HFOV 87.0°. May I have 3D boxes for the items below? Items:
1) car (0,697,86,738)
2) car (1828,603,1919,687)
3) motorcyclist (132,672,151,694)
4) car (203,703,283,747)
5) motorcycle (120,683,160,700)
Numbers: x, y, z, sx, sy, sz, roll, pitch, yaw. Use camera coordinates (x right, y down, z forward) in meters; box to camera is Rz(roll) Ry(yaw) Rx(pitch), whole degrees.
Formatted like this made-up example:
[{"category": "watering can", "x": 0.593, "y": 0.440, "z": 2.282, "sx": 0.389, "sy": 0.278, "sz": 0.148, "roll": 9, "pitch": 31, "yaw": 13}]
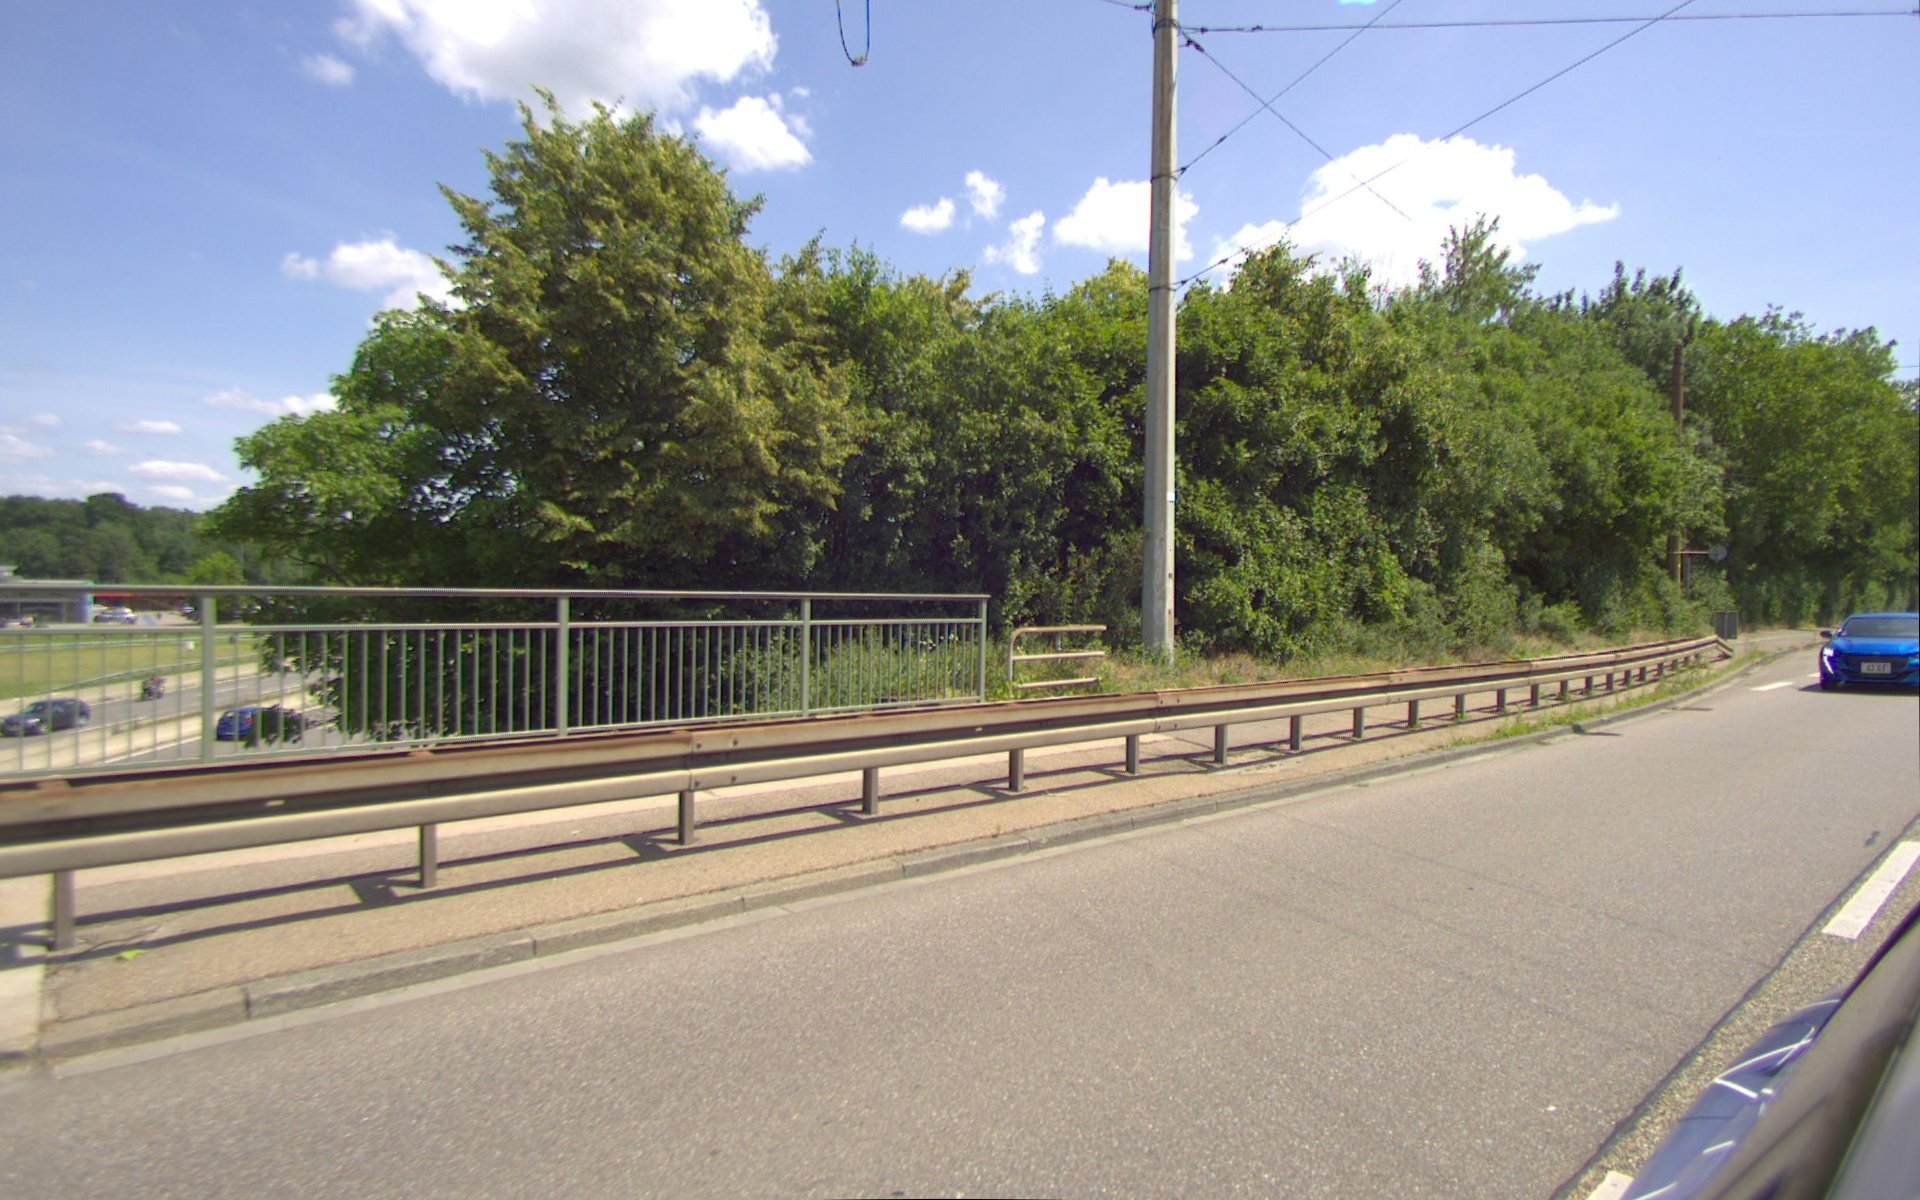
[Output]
[{"category": "car", "x": -46.693, "y": 5.935, "z": 51.540, "sx": 1.431, "sy": 1.437, "sz": 3.997, "roll": -2, "pitch": 2, "yaw": -10}, {"category": "car", "x": 17.748, "y": 0.789, "z": 19.053, "sx": 3.679, "sy": 1.423, "sz": 1.658, "roll": 0, "pitch": 0, "yaw": -42}, {"category": "motorcyclist", "x": -52.891, "y": 5.331, "z": 65.393, "sx": 0.591, "sy": 1.362, "sz": 0.912, "roll": -2, "pitch": -4, "yaw": -9}, {"category": "car", "x": -35.769, "y": 6.211, "z": 50.626, "sx": 1.789, "sy": 1.817, "sz": 4.004, "roll": -2, "pitch": -3, "yaw": -11}, {"category": "motorcycle", "x": -52.928, "y": 5.903, "z": 65.348, "sx": 0.840, "sy": 1.002, "sz": 2.475, "roll": -2, "pitch": -3, "yaw": -9}]
